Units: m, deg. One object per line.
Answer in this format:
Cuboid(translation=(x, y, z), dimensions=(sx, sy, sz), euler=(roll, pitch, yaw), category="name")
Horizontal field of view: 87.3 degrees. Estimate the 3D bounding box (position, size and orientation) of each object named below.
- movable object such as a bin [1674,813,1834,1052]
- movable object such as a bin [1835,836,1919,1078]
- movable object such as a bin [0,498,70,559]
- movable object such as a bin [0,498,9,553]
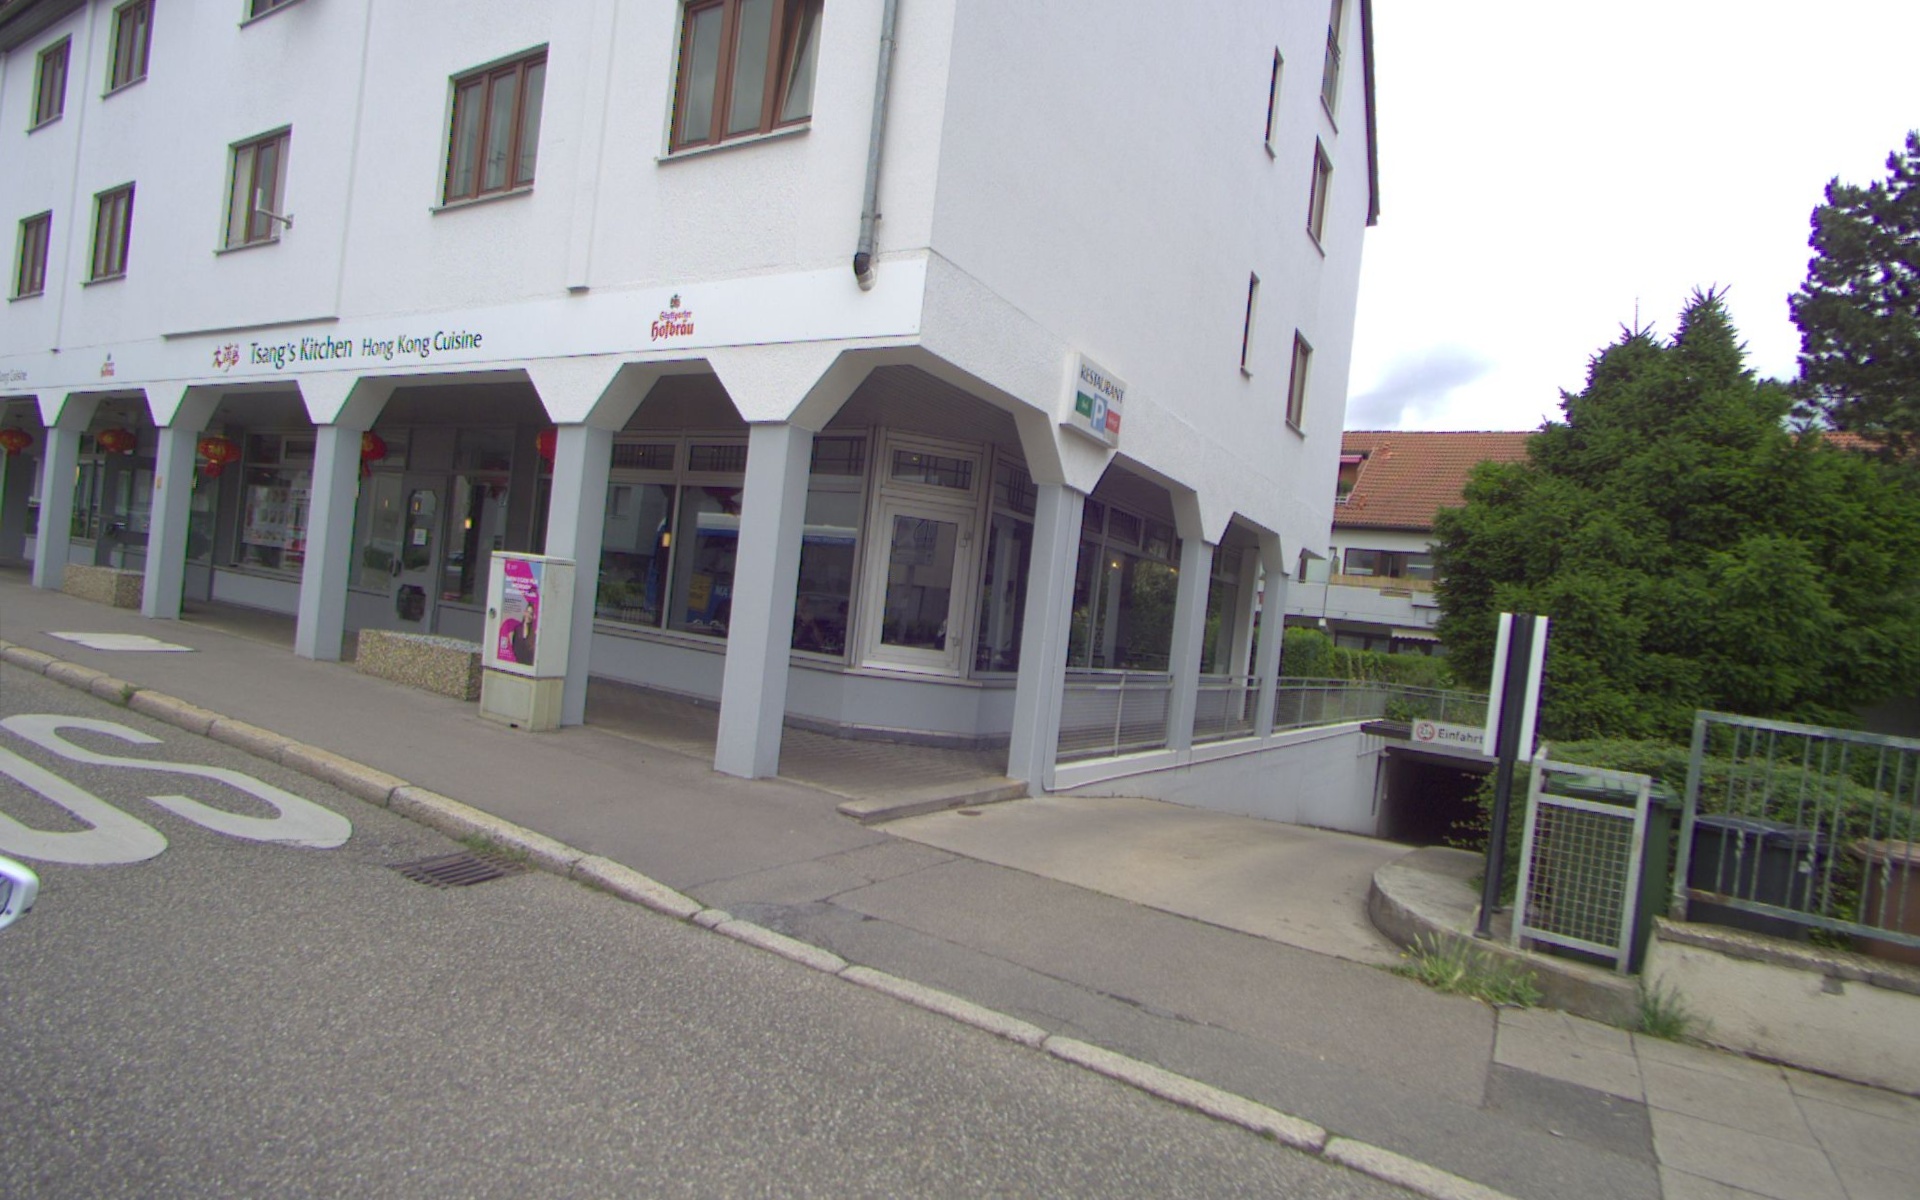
Cuboid(translation=(3.656, 1.506, 4.661), dimensions=(0.449, 0.915, 0.398), euler=(7, 0, 31), category="movable object such as a bin")
Cuboid(translation=(4.138, 1.537, 4.302), dimensions=(0.449, 0.915, 0.398), euler=(7, 0, 31), category="movable object such as a bin")
Cuboid(translation=(-25.301, -1.947, 27.428), dimensions=(1.239, 1.434, 1.210), euler=(7, 0, 35), category="movable object such as a bin")
Cuboid(translation=(-25.975, -2.058, 26.369), dimensions=(1.239, 1.434, 1.210), euler=(7, 0, 35), category="movable object such as a bin")
